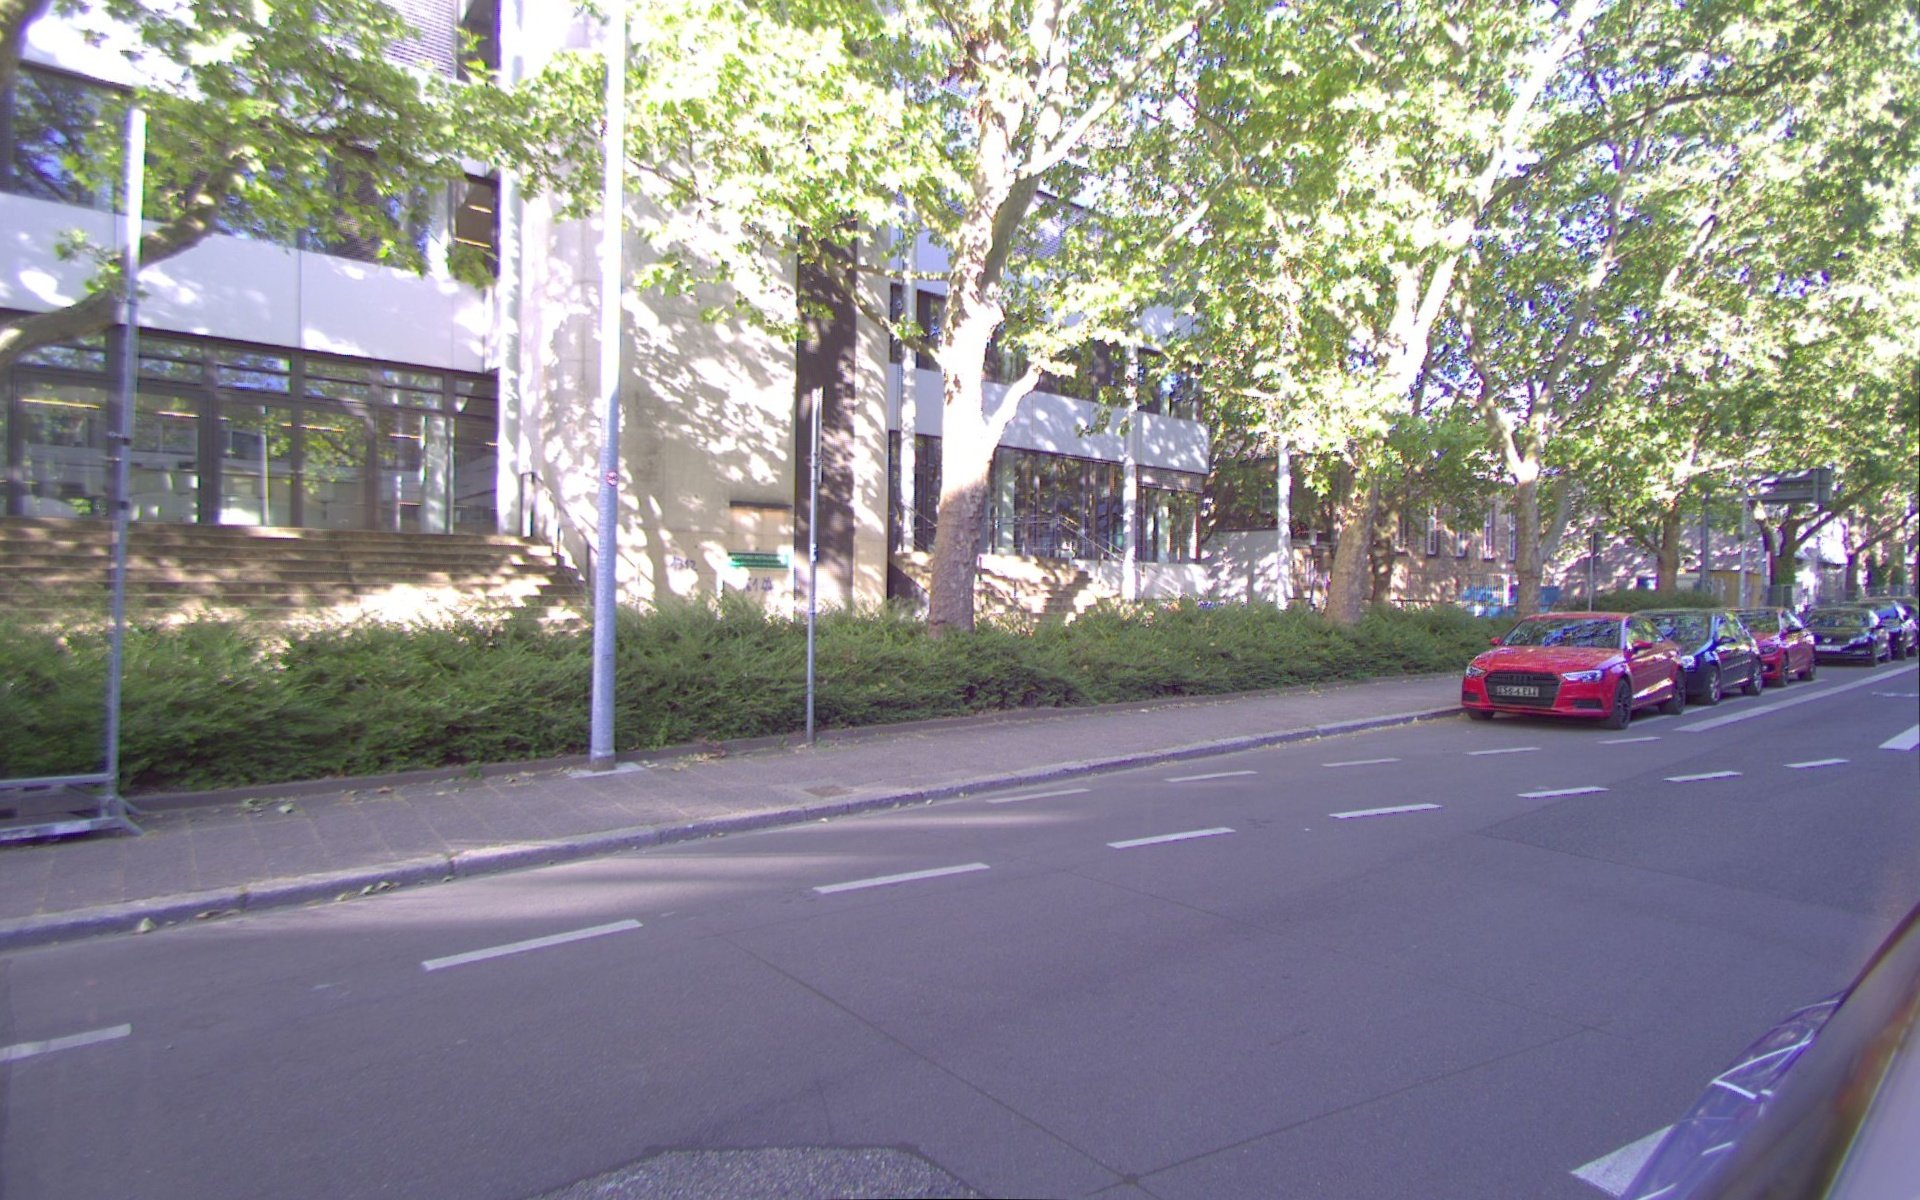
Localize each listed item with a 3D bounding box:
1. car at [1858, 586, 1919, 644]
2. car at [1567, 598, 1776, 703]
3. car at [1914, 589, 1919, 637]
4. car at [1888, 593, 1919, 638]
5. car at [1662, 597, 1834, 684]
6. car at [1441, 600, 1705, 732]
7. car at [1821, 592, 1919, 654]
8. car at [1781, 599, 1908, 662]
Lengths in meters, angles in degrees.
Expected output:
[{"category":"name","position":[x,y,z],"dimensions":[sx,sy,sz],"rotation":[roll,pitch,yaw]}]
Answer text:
[{"category":"car","position":[31.277,0.446,33.320],"dimensions":[4.493,1.809,1.997],"rotation":[-1,0,-41]},{"category":"car","position":[11.694,0.728,16.573],"dimensions":[3.581,1.478,1.997],"rotation":[-1,1,-41]},{"category":"car","position":[39.623,0.480,40.293],"dimensions":[3.930,1.872,1.997],"rotation":[-1,0,-41]},{"category":"car","position":[36.017,0.541,37.463],"dimensions":[4.070,1.585,1.997],"rotation":[-1,0,-41]},{"category":"car","position":[15.662,0.716,20.062],"dimensions":[3.762,1.517,1.997],"rotation":[-1,0,-41]},{"category":"car","position":[8.271,0.751,13.531],"dimensions":[3.930,1.443,1.906],"rotation":[-1,1,-41]},{"category":"car","position":[26.540,0.605,29.192],"dimensions":[4.070,1.621,1.997],"rotation":[-1,0,-41]},{"category":"car","position":[22.813,0.719,26.070],"dimensions":[3.527,1.474,1.997],"rotation":[-1,1,-41]}]
